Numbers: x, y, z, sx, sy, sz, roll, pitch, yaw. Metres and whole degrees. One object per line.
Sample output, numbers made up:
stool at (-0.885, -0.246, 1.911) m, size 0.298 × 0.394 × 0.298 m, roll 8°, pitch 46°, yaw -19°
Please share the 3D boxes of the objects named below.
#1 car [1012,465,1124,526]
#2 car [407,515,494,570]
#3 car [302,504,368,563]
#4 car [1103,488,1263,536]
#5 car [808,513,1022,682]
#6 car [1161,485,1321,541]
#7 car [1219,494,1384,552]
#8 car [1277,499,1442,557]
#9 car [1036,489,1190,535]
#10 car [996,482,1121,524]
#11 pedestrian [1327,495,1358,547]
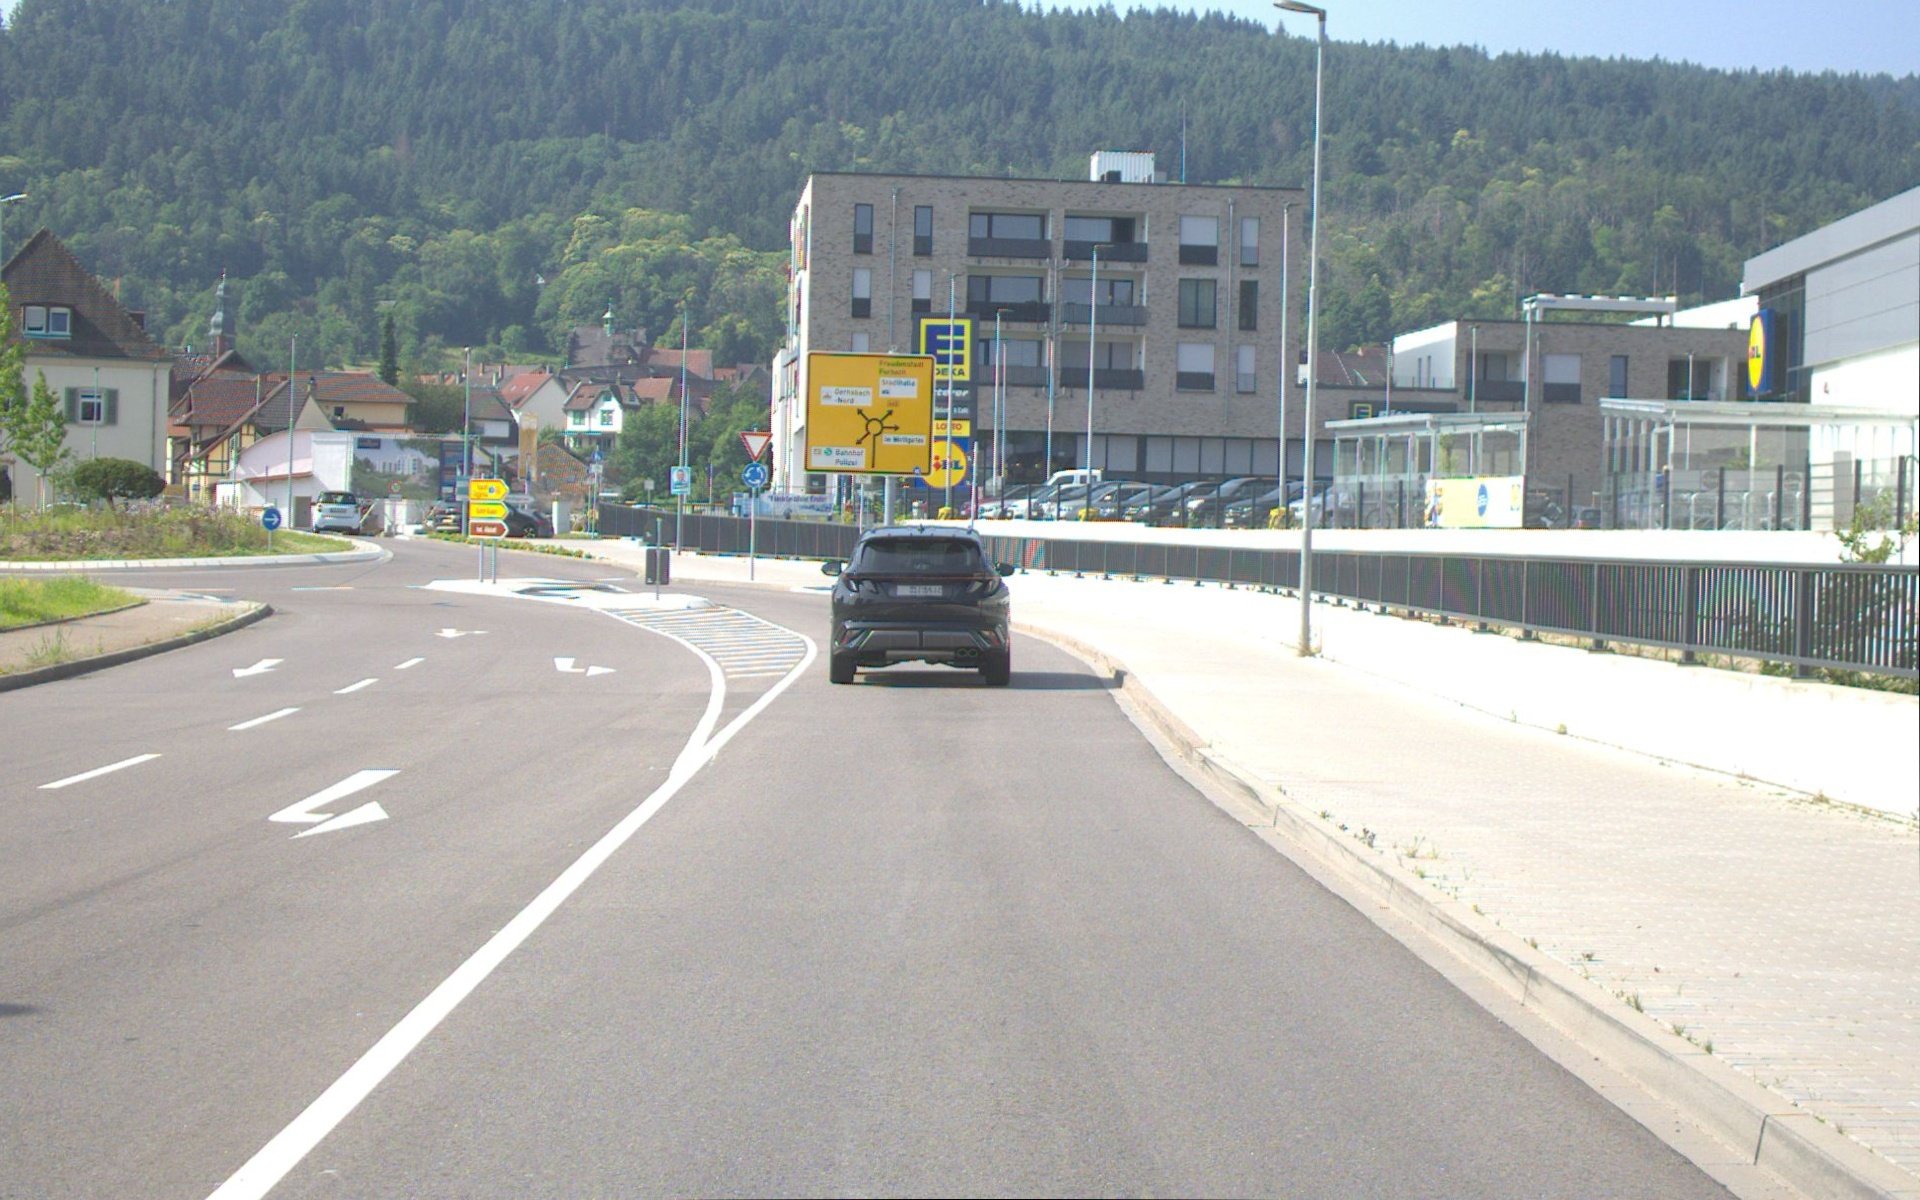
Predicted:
car at (3.933, -3.793, 124.732) m, size 3.987 × 2.128 × 2.000 m, roll 1°, pitch 1°, yaw 3°
car at (-19.287, -2.170, 130.253) m, size 1.994 × 2.007 × 3.998 m, roll 1°, pitch 1°, yaw 12°
car at (-21.870, -2.333, 120.456) m, size 1.993 × 2.007 × 4.001 m, roll 1°, pitch 1°, yaw -6°
car at (6.401, -2.534, 98.795) m, size 4.212 × 1.241 × 1.745 m, roll 1°, pitch 2°, yaw -19°
car at (-0.541, -0.053, 36.578) m, size 1.880 × 1.678 × 4.001 m, roll 1°, pitch 1°, yaw -6°
car at (7.743, -2.410, 94.873) m, size 4.004 × 1.399 × 1.726 m, roll 1°, pitch 2°, yaw -19°
car at (9.074, -2.040, 91.312) m, size 4.060 × 1.399 × 1.486 m, roll 1°, pitch 2°, yaw -19°
car at (10.262, -1.846, 88.377) m, size 3.804 × 1.359 × 1.681 m, roll 1°, pitch 2°, yaw -19°
car at (4.608, -2.642, 103.338) m, size 4.277 × 1.241 × 1.665 m, roll 1°, pitch 2°, yaw -19°
car at (3.107, -3.070, 109.054) m, size 3.554 × 1.195 × 1.715 m, roll 1°, pitch 2°, yaw -18°
pedestrian at (9.653, -1.993, 86.835) m, size 0.547 × 1.307 × 0.657 m, roll 1°, pitch 1°, yaw -17°
